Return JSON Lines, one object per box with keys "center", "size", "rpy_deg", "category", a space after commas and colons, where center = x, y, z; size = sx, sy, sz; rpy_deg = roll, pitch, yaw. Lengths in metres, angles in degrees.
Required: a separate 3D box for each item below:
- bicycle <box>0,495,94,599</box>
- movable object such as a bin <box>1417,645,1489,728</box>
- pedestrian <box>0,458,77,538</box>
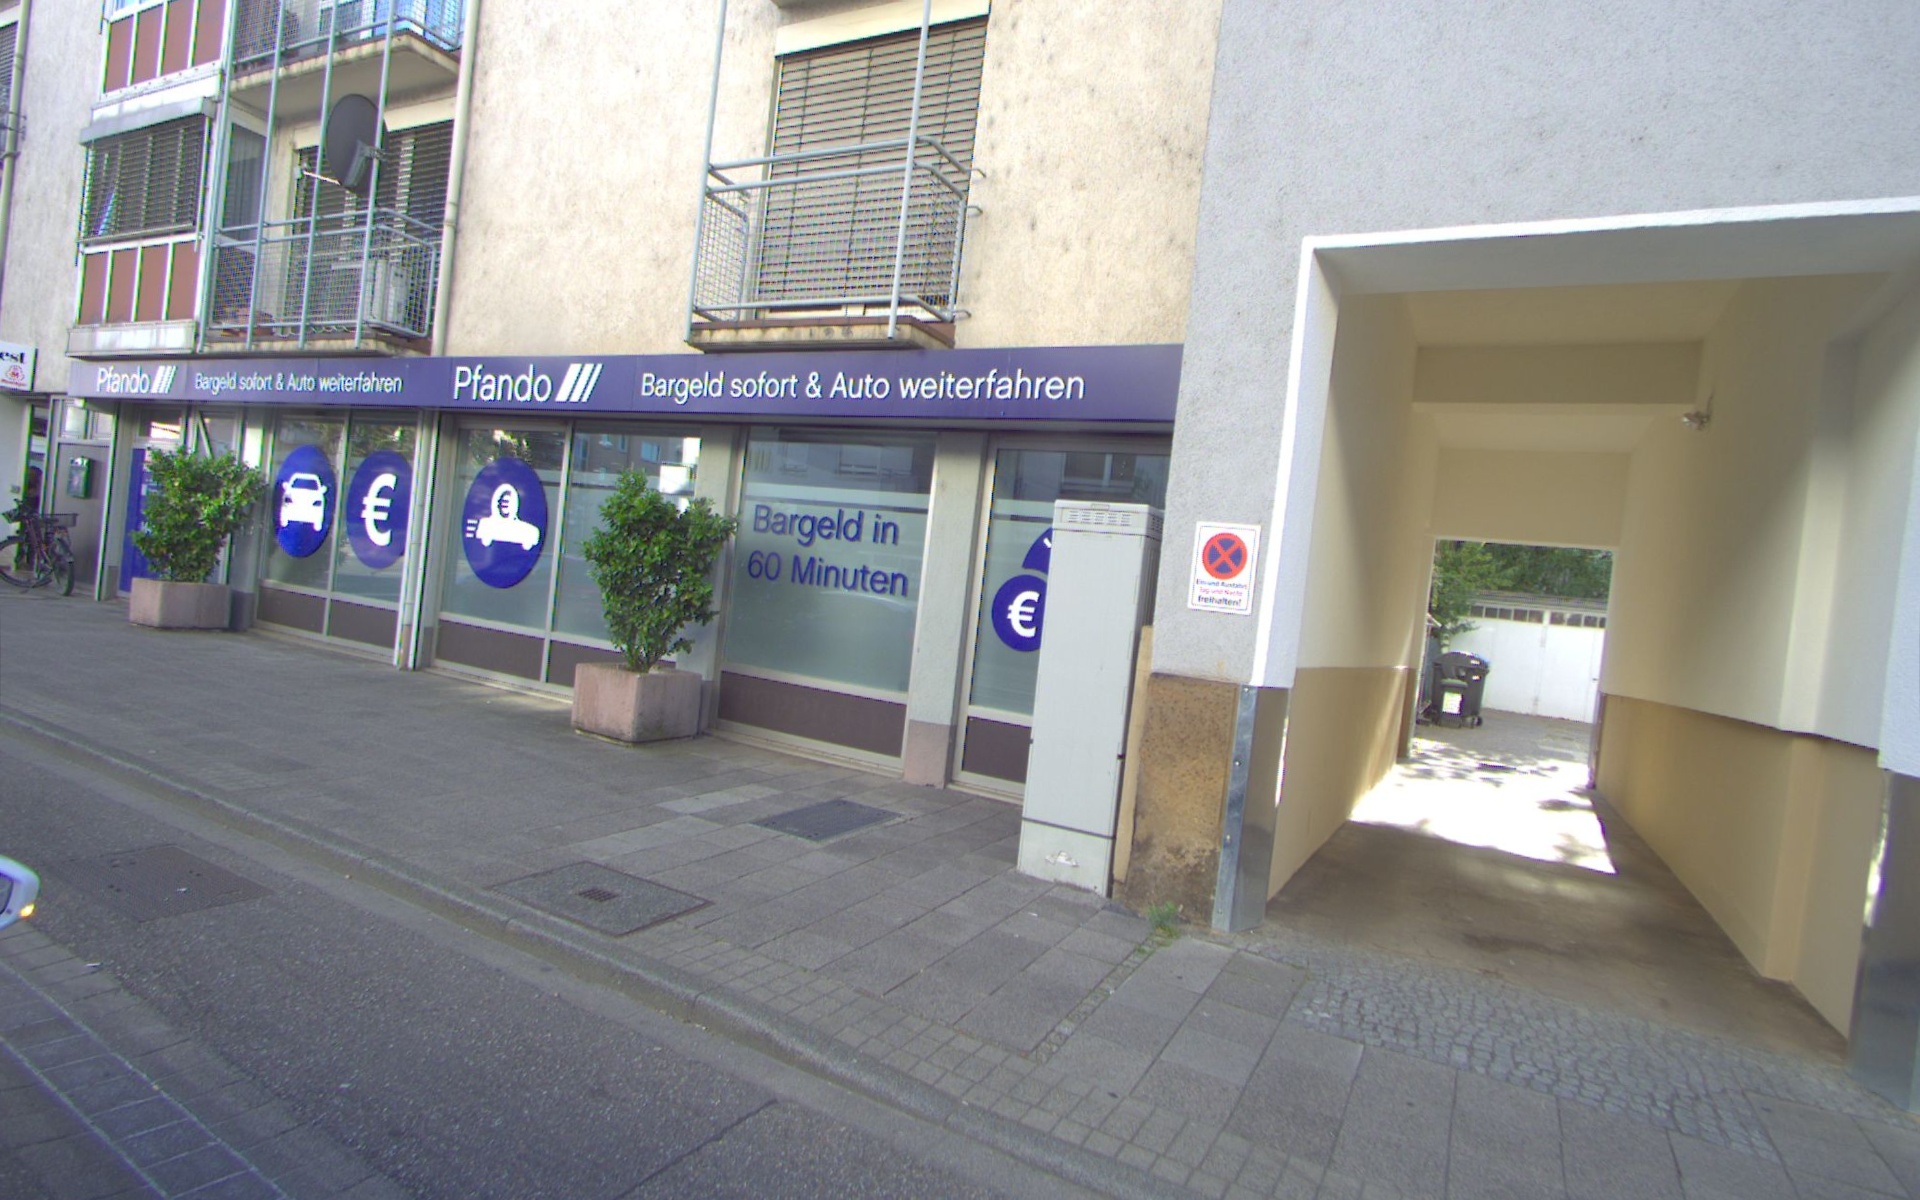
{"center": [-11.864, -0.701, 12.896], "size": [1.747, 1.176, 0.497], "rpy_deg": [6, 0, 29], "category": "bicycle"}
{"center": [10.011, 1.761, 20.404], "size": [1.092, 1.511, 1.329], "rpy_deg": [6, -2, 30], "category": "movable object such as a bin"}
{"center": [-14.210, -1.551, 15.442], "size": [0.667, 1.102, 0.624], "rpy_deg": [7, 2, -5], "category": "pedestrian"}
